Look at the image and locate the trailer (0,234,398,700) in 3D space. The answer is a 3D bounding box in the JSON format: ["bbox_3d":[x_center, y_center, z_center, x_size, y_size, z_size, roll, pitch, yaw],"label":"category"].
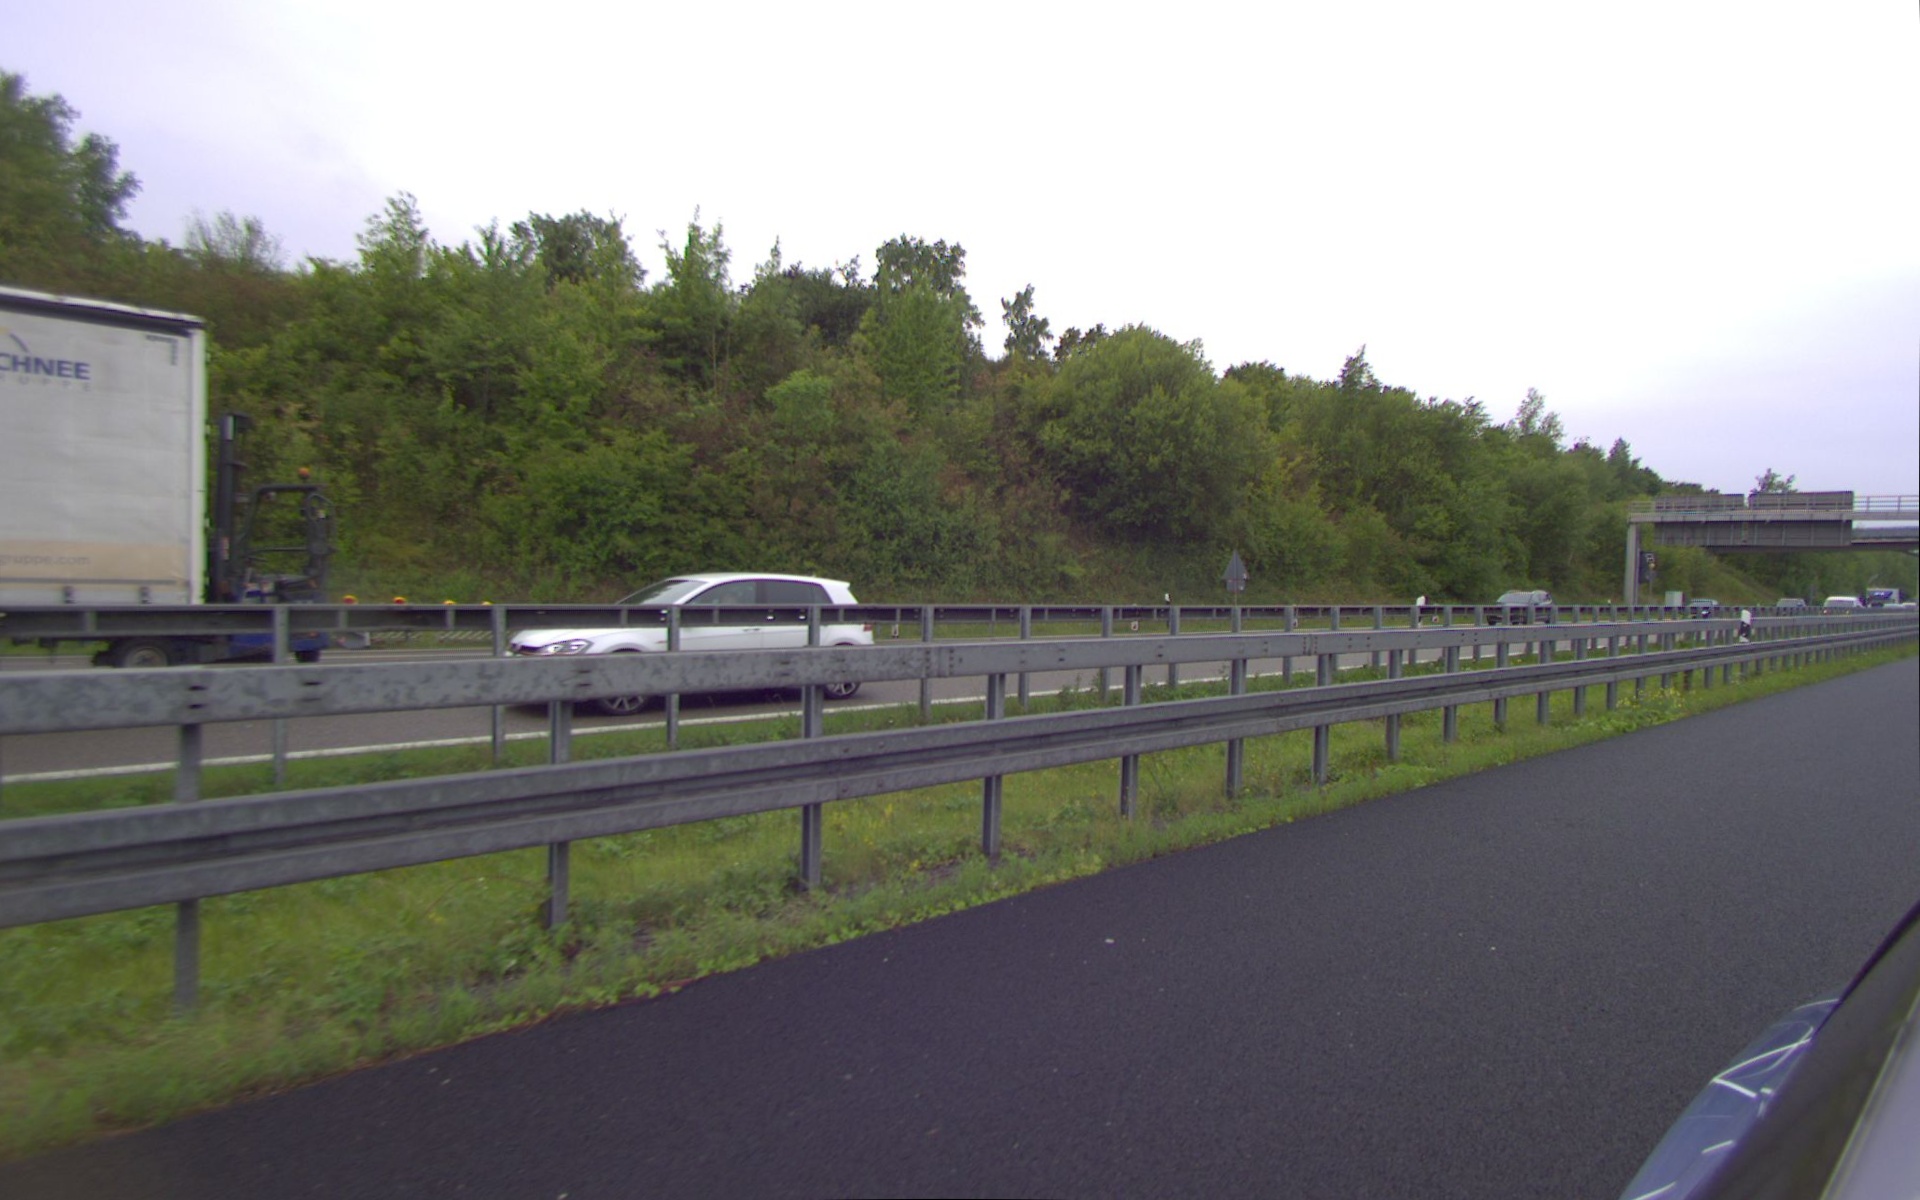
[{"bbox_3d":[-11.450,-1.270,9.562,10.270,4.343,3.444,0,1,-41],"label":"trailer"}]

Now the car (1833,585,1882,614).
[{"bbox_3d":[59.103,-0.051,66.622,4.567,1.827,1.863,0,1,-41],"label":"car"}]

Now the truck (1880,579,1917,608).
[{"bbox_3d":[117.064,-0.853,126.187,9.129,3.460,2.904,-1,1,-44],"label":"truck"}]

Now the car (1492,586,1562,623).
[{"bbox_3d":[26.702,0.179,47.614,1.861,1.602,4.172,1,1,45],"label":"car"}]

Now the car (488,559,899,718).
[{"bbox_3d":[-2.868,0.320,11.380,4.086,1.465,1.863,0,1,-41],"label":"car"}]

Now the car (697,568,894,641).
[{"bbox_3d":[-3.991,0.073,24.812,4.415,1.634,1.866,0,1,-36],"label":"car"}]
